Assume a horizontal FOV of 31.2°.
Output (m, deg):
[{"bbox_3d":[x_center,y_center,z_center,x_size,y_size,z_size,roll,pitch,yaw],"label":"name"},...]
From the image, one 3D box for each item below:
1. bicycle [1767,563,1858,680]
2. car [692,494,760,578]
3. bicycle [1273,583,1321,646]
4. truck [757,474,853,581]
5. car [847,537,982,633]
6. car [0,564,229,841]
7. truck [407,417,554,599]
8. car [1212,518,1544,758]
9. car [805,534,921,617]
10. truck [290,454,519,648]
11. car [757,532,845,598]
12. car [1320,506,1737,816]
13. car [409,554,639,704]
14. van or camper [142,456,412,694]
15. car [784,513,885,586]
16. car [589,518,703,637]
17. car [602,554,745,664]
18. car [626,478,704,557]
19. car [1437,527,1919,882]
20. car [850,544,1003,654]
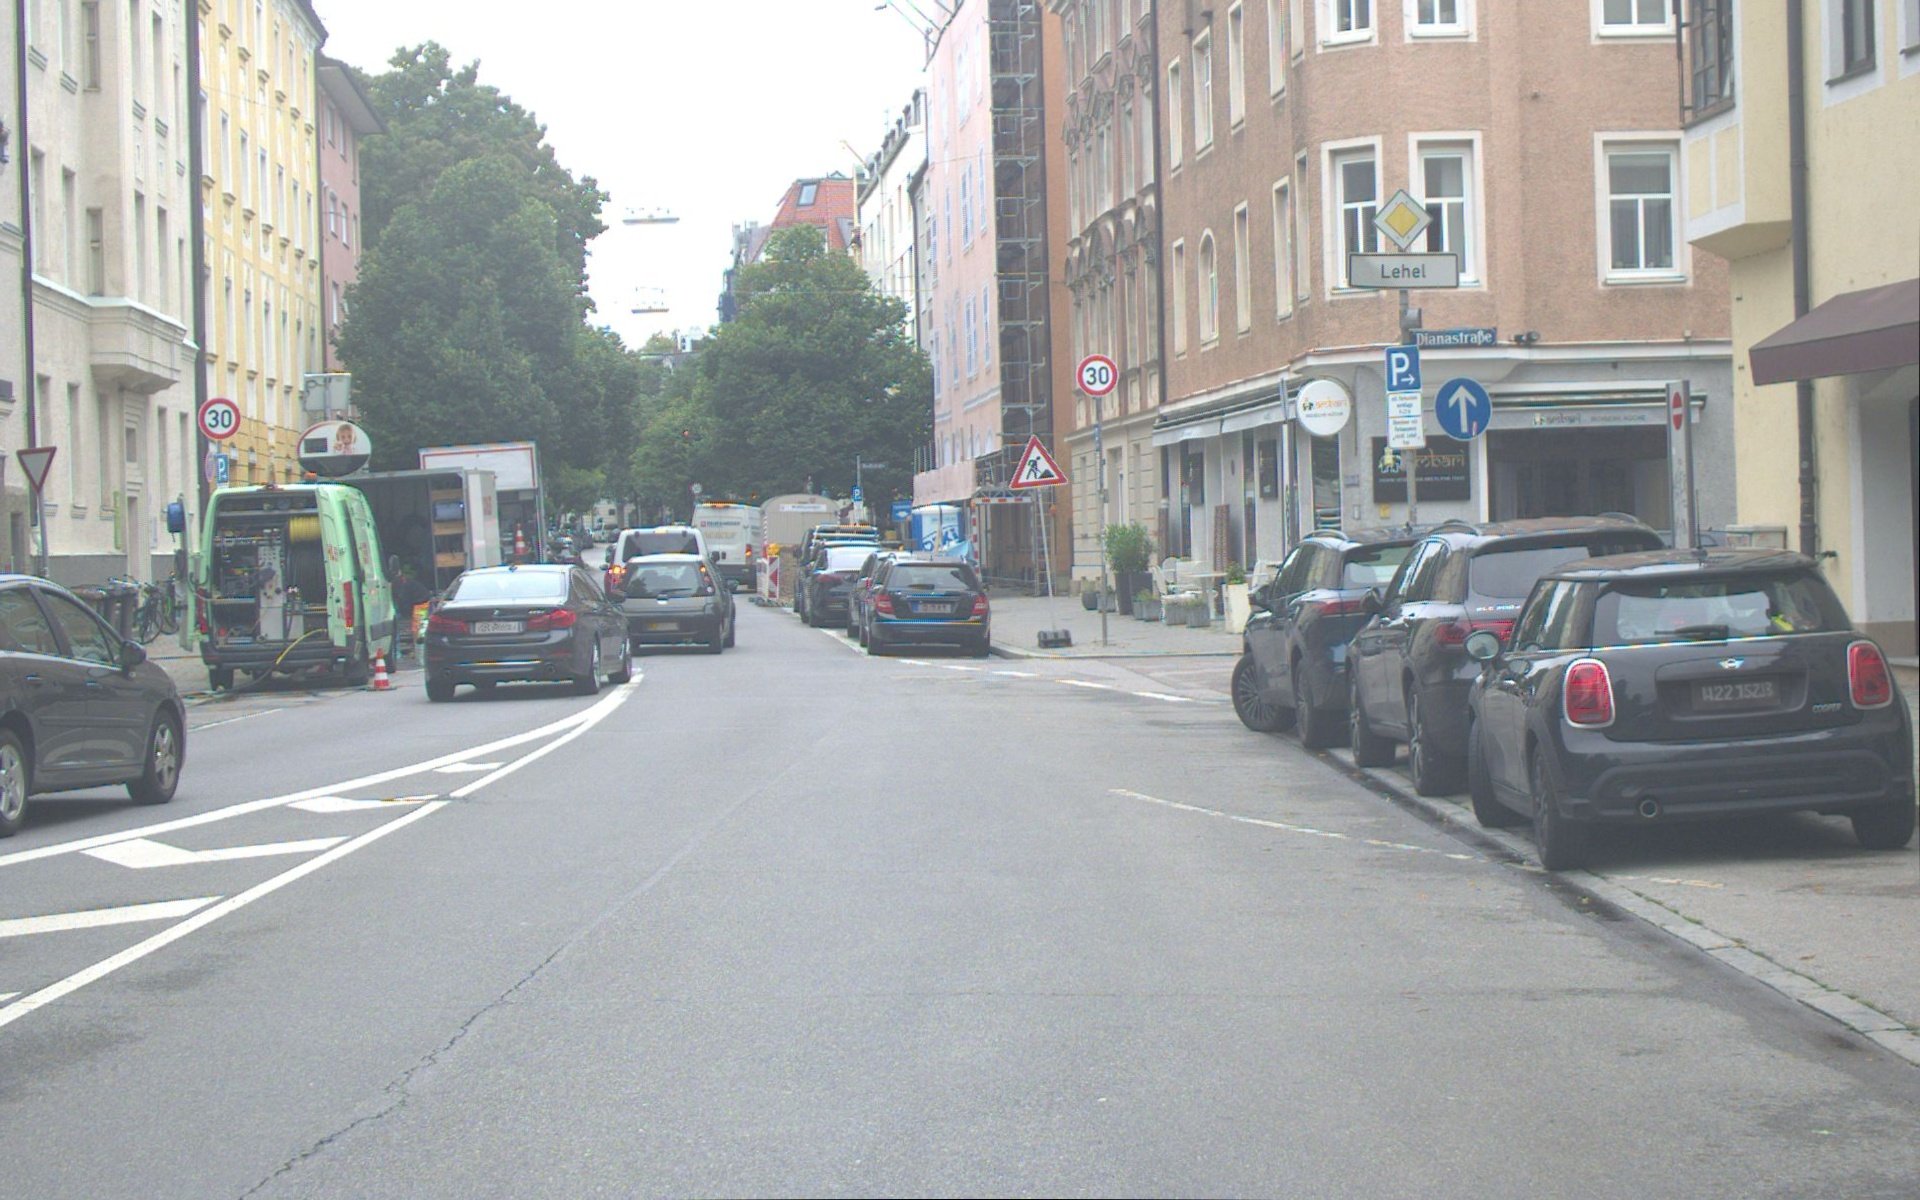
[{"bbox_3d":[7.407,0.172,29.908,0.271,0.974,1.685,0,1,-4],"label":"bicycle"},{"bbox_3d":[-7.073,-1.950,104.233,1.939,2.472,4.783,-1,1,-3],"label":"car"},{"bbox_3d":[4.514,0.189,46.060,0.456,0.802,1.327,-1,1,-2],"label":"bicycle"},{"bbox_3d":[-4.486,-2.076,98.610,2.491,2.963,5.329,-1,1,-5],"label":"truck"},{"bbox_3d":[-0.786,-0.275,56.558,1.844,1.424,4.141,1,2,-6],"label":"car"},{"bbox_3d":[-5.870,0.559,20.392,1.759,1.456,4.073,-1,1,7],"label":"car"},{"bbox_3d":[-10.861,-2.077,78.466,3.012,3.938,6.997,-1,1,-6],"label":"truck"},{"bbox_3d":[3.234,0.242,27.479,1.818,1.673,4.511,-3,1,-3],"label":"car"},{"bbox_3d":[-1.868,-0.487,64.885,1.844,1.424,4.307,1,2,-6],"label":"car"},{"bbox_3d":[-8.838,-0.869,55.485,2.773,2.863,7.203,-1,2,-3],"label":"truck"},{"bbox_3d":[-3.843,-0.863,82.600,1.990,1.424,4.141,-1,2,-4],"label":"car"},{"bbox_3d":[3.471,0.301,21.858,1.756,1.673,4.707,-3,1,-1],"label":"car"},{"bbox_3d":[-4.822,0.272,38.717,1.990,1.424,4.906,-1,2,-1],"label":"car"},{"bbox_3d":[-8.810,-0.411,44.983,2.600,2.830,6.187,-1,2,-4],"label":"van or camper"},{"bbox_3d":[-2.701,-1.092,72.992,1.990,1.424,4.141,-1,2,-4],"label":"car"},{"bbox_3d":[-5.878,-0.459,64.835,1.990,2.068,4.141,-1,2,-4],"label":"car"},{"bbox_3d":[-4.233,0.100,51.223,1.990,1.424,4.141,-1,2,-4],"label":"car"},{"bbox_3d":[-7.896,-2.203,92.033,1.993,2.007,4.001,-2,1,-5],"label":"car"},{"bbox_3d":[3.482,0.424,17.126,1.756,1.491,3.823,-3,1,2],"label":"car"},{"bbox_3d":[-0.539,-0.051,50.321,1.844,1.424,4.184,1,2,-6],"label":"car"}]
